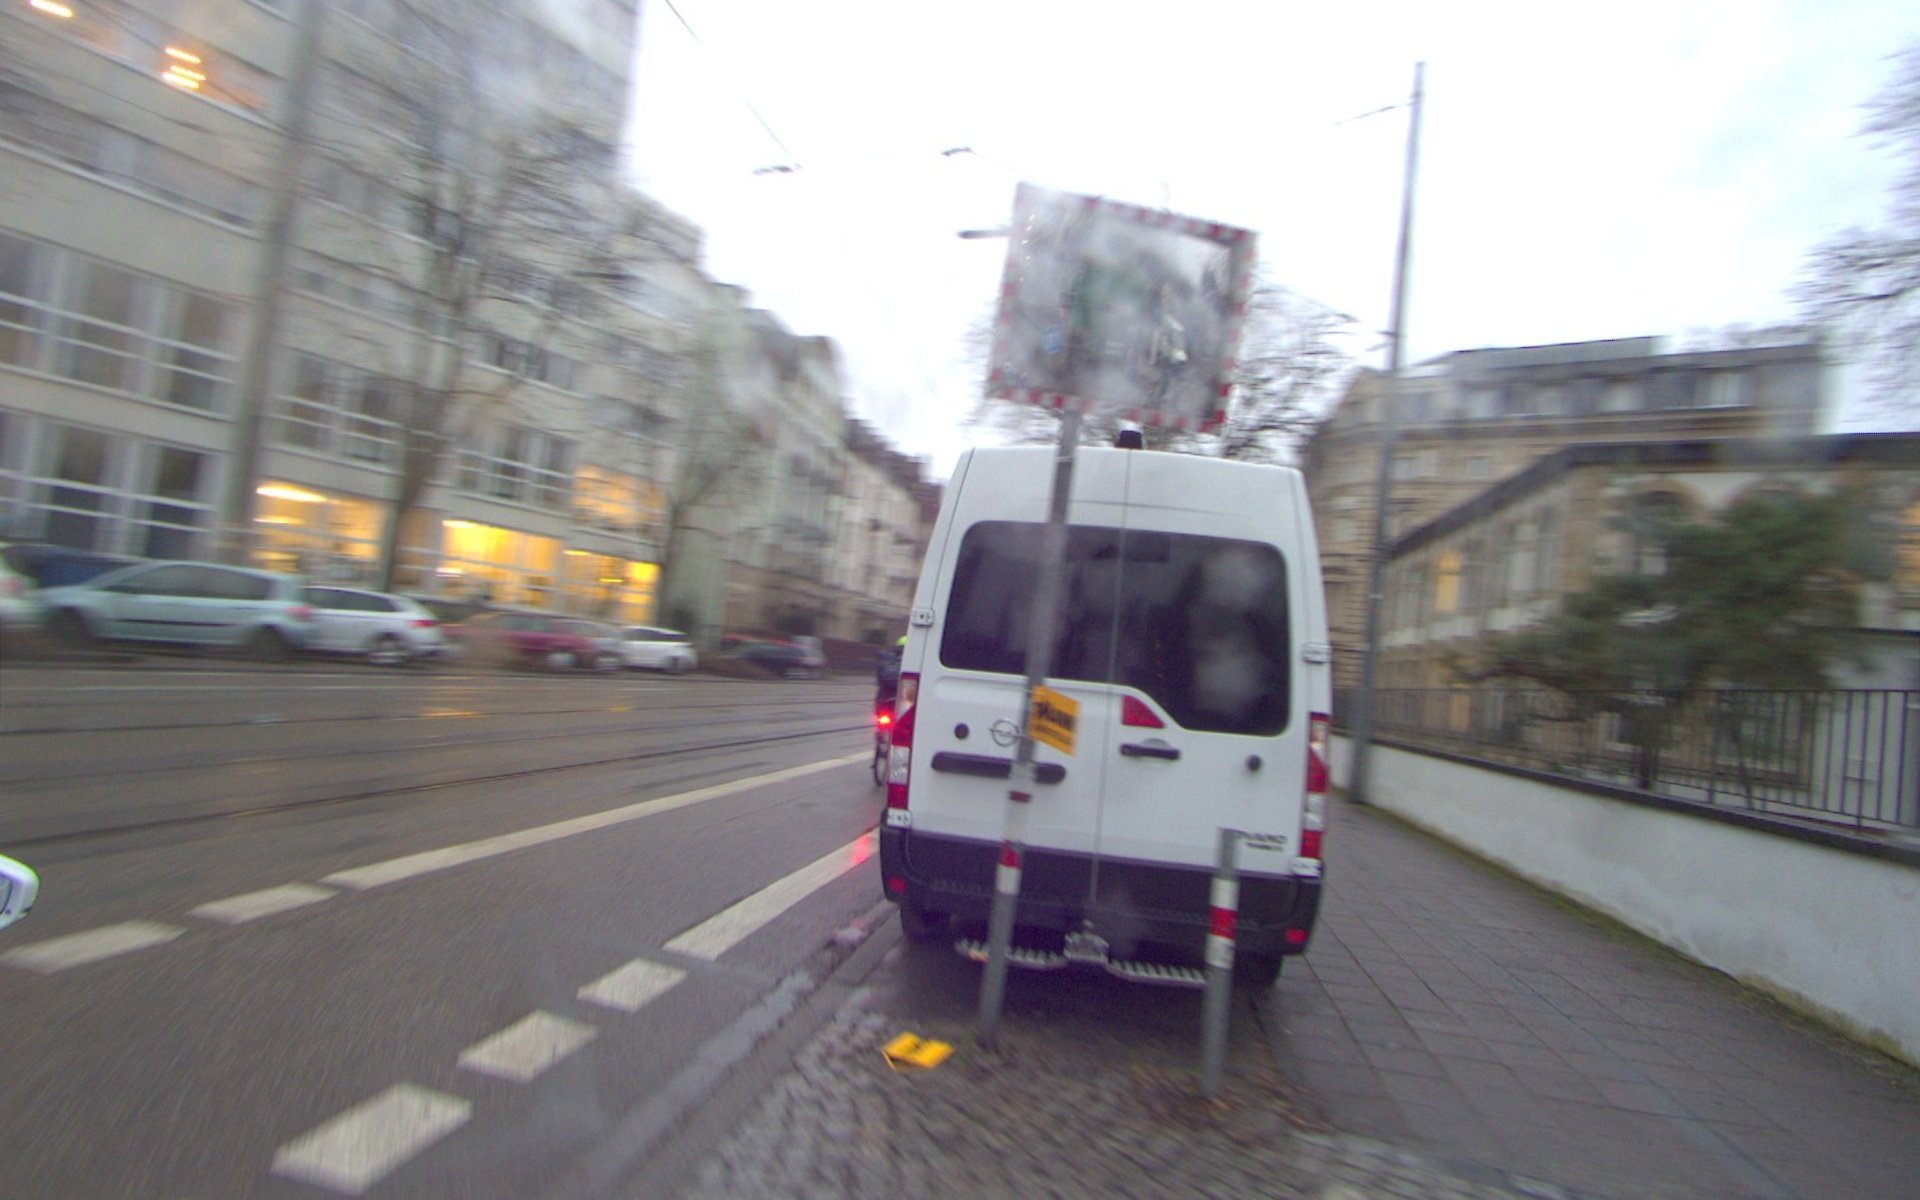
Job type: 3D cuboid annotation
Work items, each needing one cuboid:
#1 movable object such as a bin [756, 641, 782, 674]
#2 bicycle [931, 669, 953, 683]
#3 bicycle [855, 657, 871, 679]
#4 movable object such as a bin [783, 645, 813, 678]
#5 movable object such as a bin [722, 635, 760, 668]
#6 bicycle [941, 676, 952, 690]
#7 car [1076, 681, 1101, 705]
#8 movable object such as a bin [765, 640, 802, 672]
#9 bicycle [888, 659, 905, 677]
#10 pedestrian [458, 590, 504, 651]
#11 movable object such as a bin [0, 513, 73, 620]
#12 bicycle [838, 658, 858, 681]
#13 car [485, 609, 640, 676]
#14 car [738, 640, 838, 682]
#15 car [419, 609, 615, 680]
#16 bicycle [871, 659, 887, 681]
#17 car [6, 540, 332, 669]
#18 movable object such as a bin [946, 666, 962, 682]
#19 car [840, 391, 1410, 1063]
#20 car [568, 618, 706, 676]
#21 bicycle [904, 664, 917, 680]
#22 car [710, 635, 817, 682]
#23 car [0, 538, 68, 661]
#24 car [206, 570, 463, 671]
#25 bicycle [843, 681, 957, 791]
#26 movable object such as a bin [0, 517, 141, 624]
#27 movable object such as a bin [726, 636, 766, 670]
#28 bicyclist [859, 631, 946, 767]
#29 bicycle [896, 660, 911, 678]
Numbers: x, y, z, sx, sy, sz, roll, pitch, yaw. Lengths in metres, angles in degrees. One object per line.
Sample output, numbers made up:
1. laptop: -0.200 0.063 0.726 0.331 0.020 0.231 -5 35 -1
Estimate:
1. movable object such as a bin: -9.291 2.808 49.001 1.074 1.467 1.110 7 -2 -11
2. bicycle: -1.639 6.924 91.436 1.776 1.092 0.617 6 -2 4
3. bicycle: -5.656 3.976 58.813 0.619 1.226 1.598 6 -3 1
4. movable object such as a bin: -7.932 3.011 49.214 1.246 1.467 1.110 7 -3 -12
5. movable object such as a bin: -11.071 2.610 50.959 1.243 1.466 1.327 5 -3 17
6. bicycle: -1.130 7.050 85.570 0.604 1.092 1.814 6 -3 6
7. car: 12.121 8.759 94.874 1.962 1.916 4.771 8 -5 10
8. movable object such as a bin: -9.103 2.892 51.891 1.243 1.466 1.327 5 -3 17
9. bicycle: -4.226 4.544 67.197 0.681 1.040 1.601 5 -7 12
10. pedestrian: -14.187 0.626 29.818 0.587 1.696 0.975 6 -2 10
11. movable object such as a bin: -18.039 -0.670 18.789 1.545 1.882 1.395 6 -2 11
12. bicycle: -6.182 3.852 55.728 0.681 1.226 1.599 6 -3 5
13. car: -11.491 1.250 29.164 3.950 1.479 1.729 8 -5 -25
14. car: -7.833 2.802 45.901 3.961 1.444 1.834 9 -4 -33
15. car: -11.504 1.175 26.286 4.314 1.366 1.733 9 -5 -38
16. bicycle: -5.033 4.347 62.579 0.681 1.226 1.598 6 -3 1
17. car: -12.953 0.135 16.841 3.960 1.581 1.724 8 -3 -32
18. movable object such as a bin: -0.638 7.912 107.128 1.386 1.548 1.367 6 -3 10
19. car: 0.994 0.655 6.765 2.090 2.515 5.448 5 -3 8
20. car: -10.457 1.540 32.655 3.819 1.439 1.721 9 -4 -36
21. bicycle: -3.529 5.107 71.593 0.681 1.041 1.600 6 -5 1
22. car: -8.377 2.515 42.982 3.966 1.486 1.816 9 -4 -35
23. car: -14.278 -0.223 12.964 3.842 1.569 1.678 9 -4 -35
24. car: -12.138 0.457 19.859 3.948 1.459 1.730 8 -4 -23
25. bicycle: -0.652 1.550 11.886 0.696 1.109 2.033 6 -3 13
26. movable object such as a bin: -17.772 -0.574 20.129 1.545 1.882 1.319 6 -2 11
27. movable object such as a bin: -10.114 2.517 47.594 1.243 1.466 1.327 5 -3 17
28. bicyclist: -0.653 1.143 11.759 0.645 1.462 0.850 6 -2 14
29. bicycle: -3.882 4.768 69.046 0.681 1.040 1.602 6 -7 5
